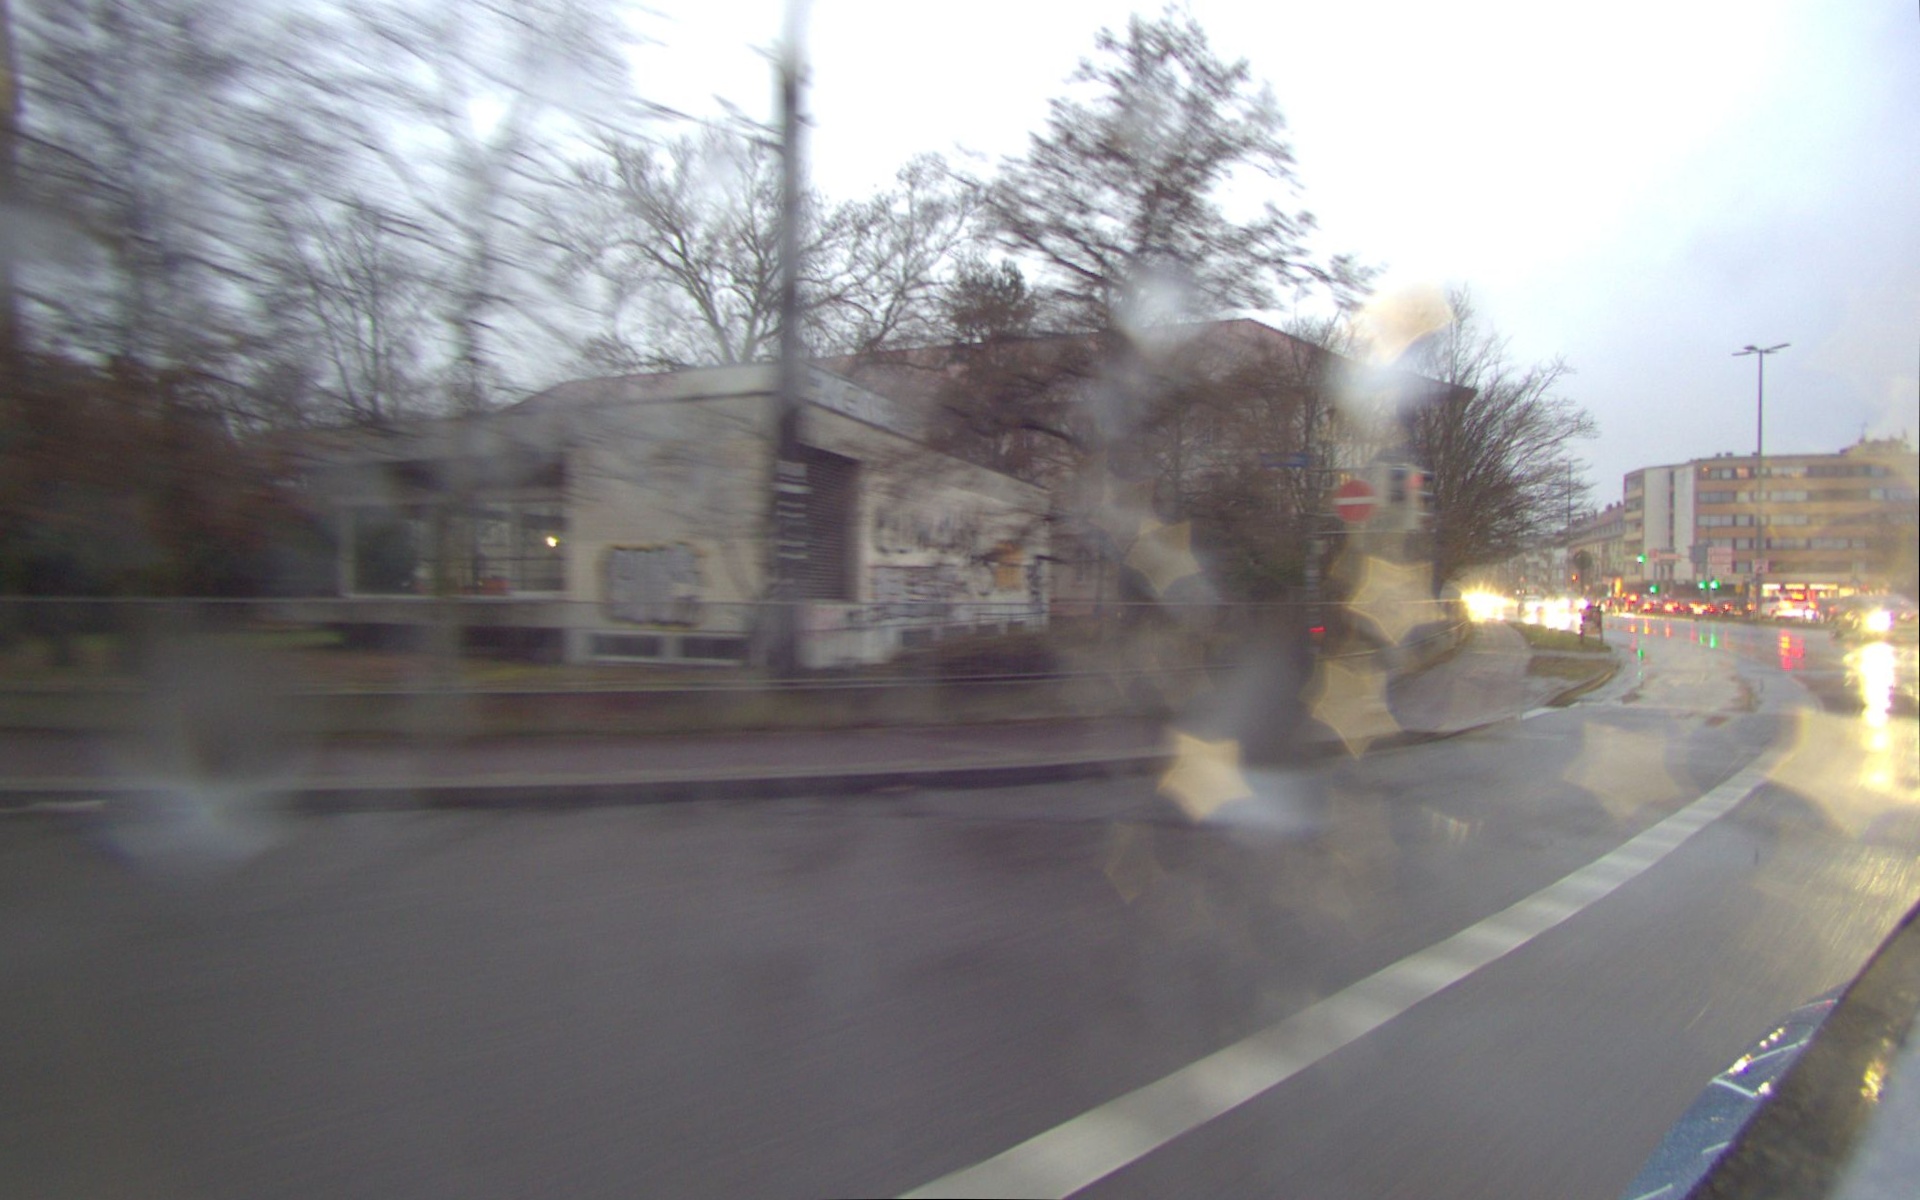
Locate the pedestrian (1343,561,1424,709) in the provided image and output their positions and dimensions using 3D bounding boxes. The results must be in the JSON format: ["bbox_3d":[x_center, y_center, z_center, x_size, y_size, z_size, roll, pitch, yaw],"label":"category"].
[{"bbox_3d":[5.623,0.458,13.428,0.671,1.860,0.574,3,4,-42],"label":"pedestrian"}]

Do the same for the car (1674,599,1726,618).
[{"bbox_3d":[56.765,0.643,77.709,1.944,1.404,4.504,1,0,20],"label":"car"}]

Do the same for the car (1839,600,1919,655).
[{"bbox_3d":[32.372,0.930,35.122,1.803,1.764,4.147,2,1,27],"label":"car"}]

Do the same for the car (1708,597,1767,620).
[{"bbox_3d":[54.332,0.572,70.845,1.944,1.533,4.504,1,0,20],"label":"car"}]

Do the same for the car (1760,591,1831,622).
[{"bbox_3d":[52.044,0.405,63.148,1.944,1.805,4.504,1,0,20],"label":"car"}]

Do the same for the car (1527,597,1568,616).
[{"bbox_3d":[46.524,0.498,80.229,1.944,1.404,4.504,1,0,20],"label":"car"}]

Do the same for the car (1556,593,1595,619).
[{"bbox_3d":[50.632,0.465,83.354,1.975,2.039,3.973,1,0,20],"label":"car"}]

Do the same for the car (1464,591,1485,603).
[{"bbox_3d":[68.438,-0.442,134.693,1.975,1.554,3.973,0,0,20],"label":"car"}]

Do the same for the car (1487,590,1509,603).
[{"bbox_3d":[71.333,-0.476,134.239,1.975,1.629,3.973,0,0,20],"label":"car"}]

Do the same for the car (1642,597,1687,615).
[{"bbox_3d":[60.022,0.490,86.307,1.944,1.404,4.504,1,0,20],"label":"car"}]

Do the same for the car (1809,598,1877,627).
[{"bbox_3d":[49.484,0.668,56.788,1.632,1.505,3.969,1,0,23],"label":"car"}]
